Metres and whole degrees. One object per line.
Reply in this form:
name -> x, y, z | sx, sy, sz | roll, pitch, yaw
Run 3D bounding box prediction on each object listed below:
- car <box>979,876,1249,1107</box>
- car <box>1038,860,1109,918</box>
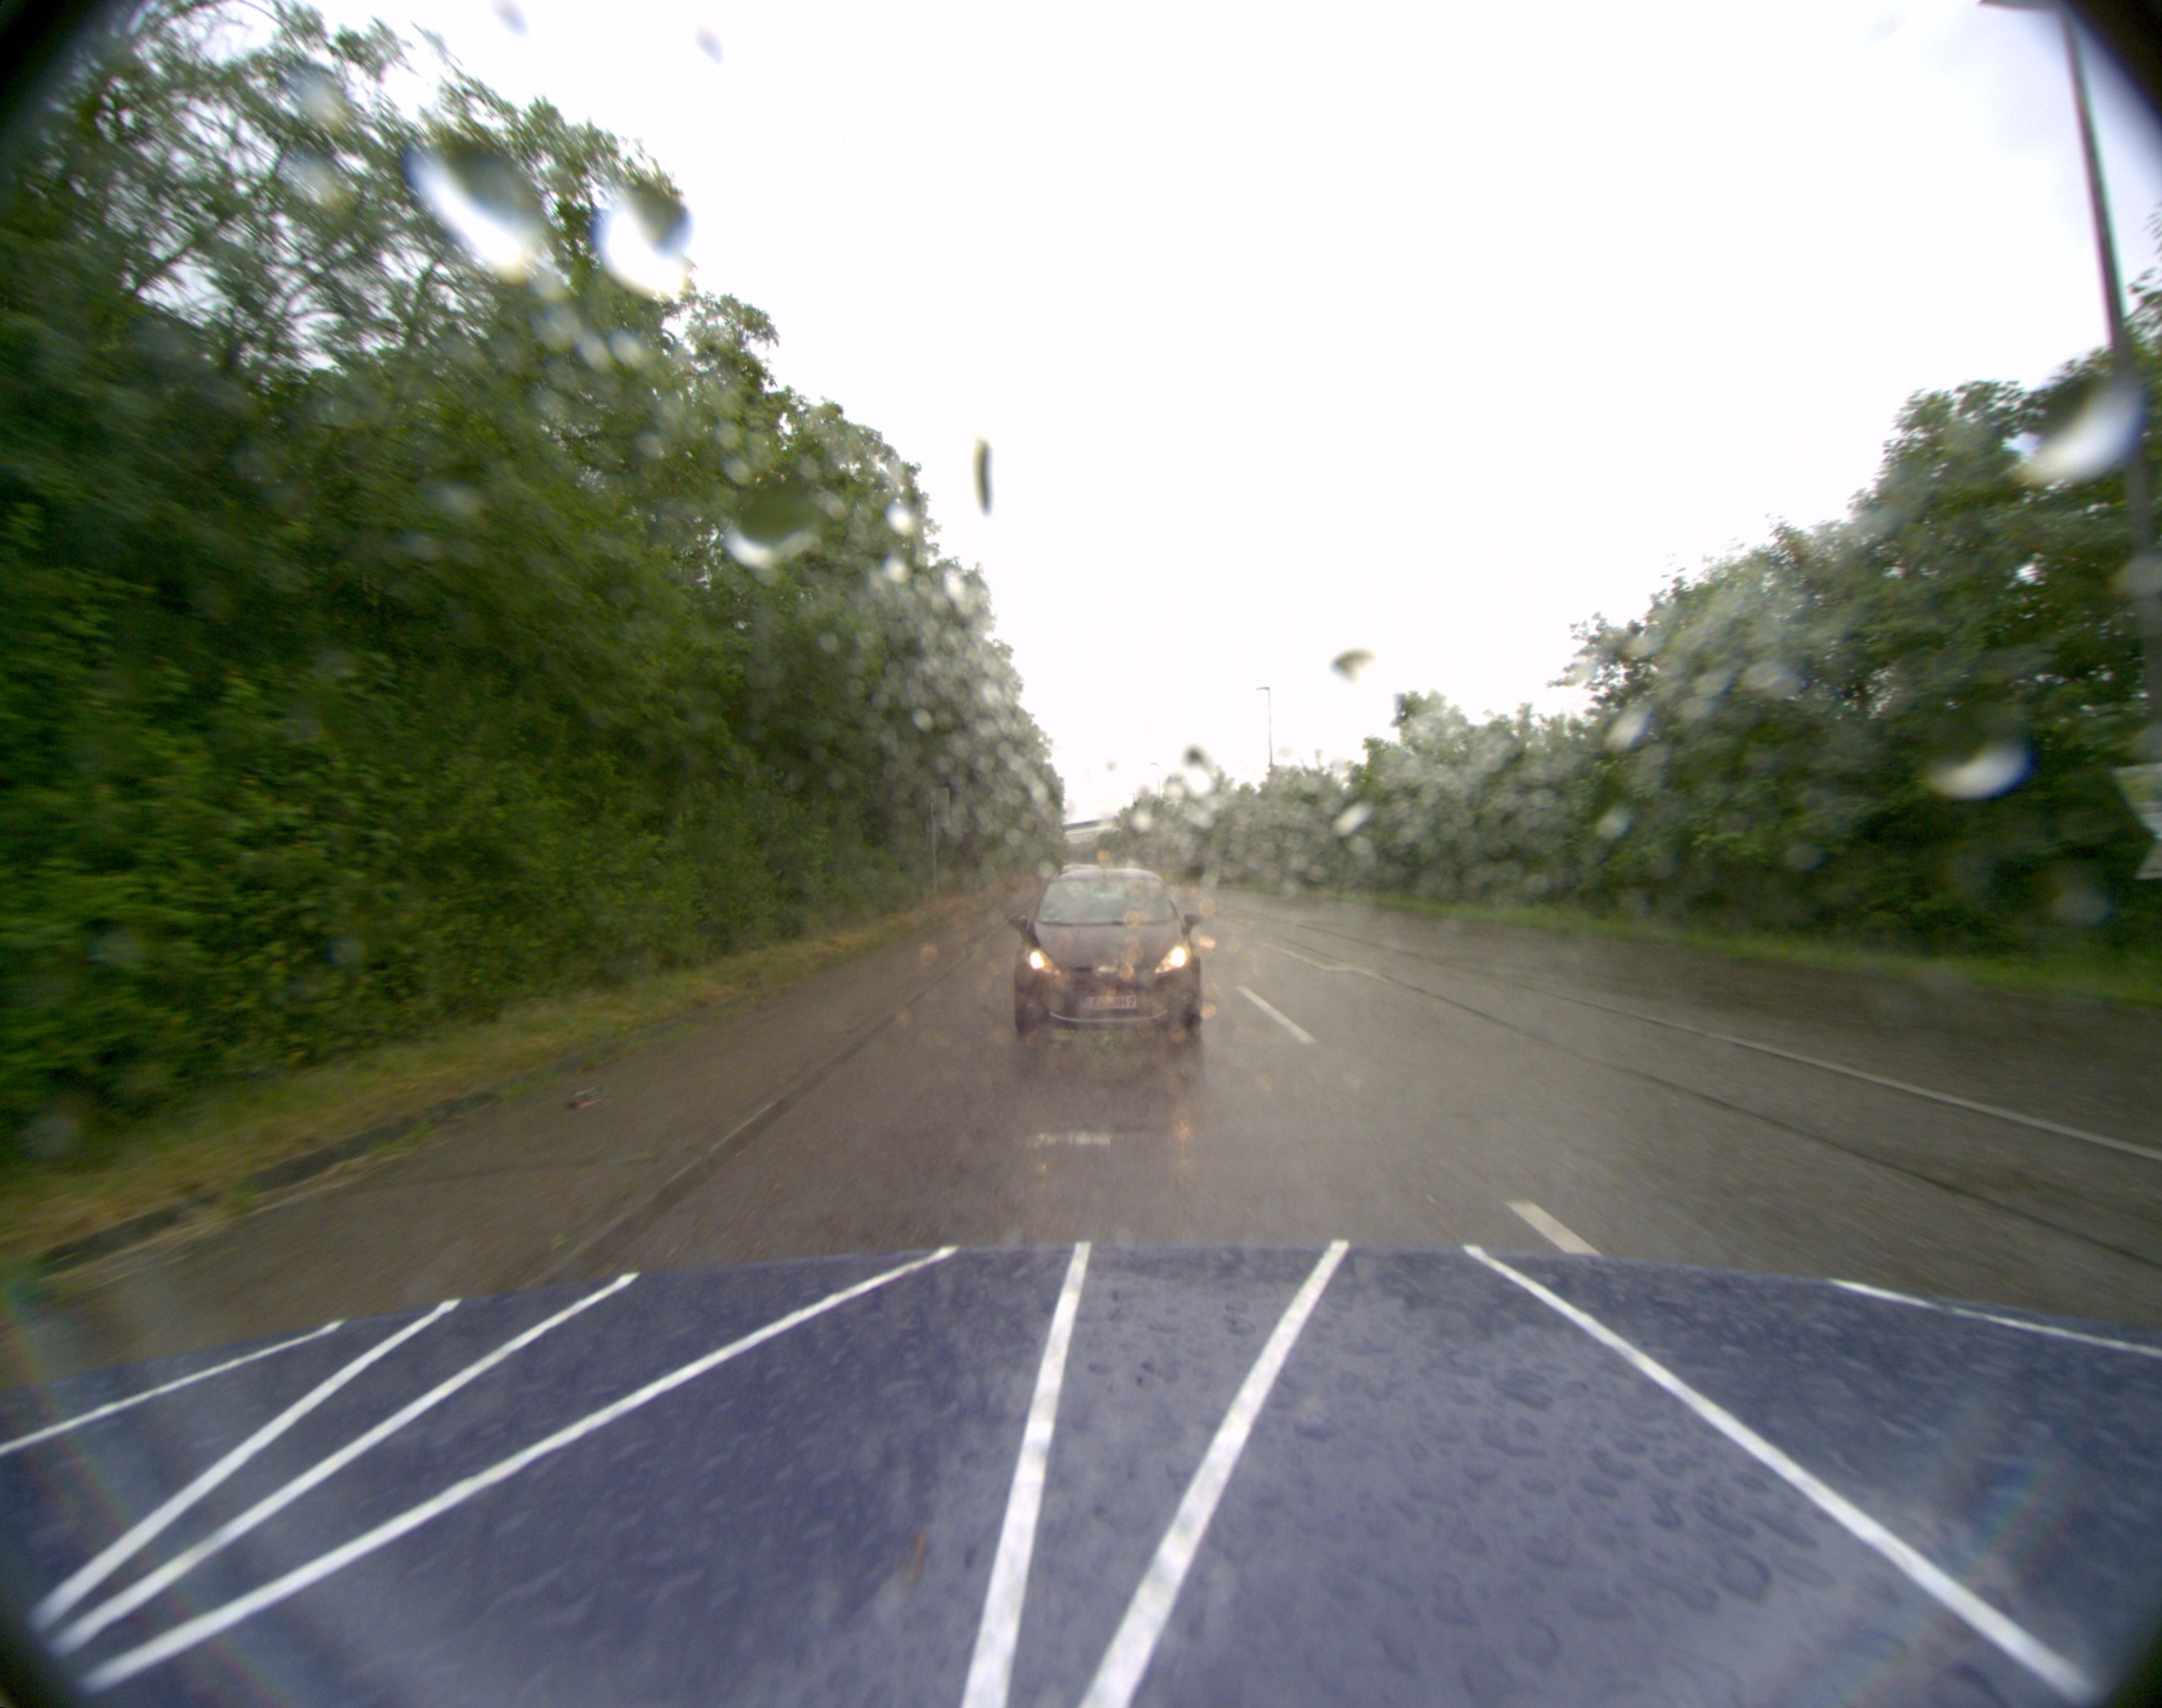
car -> 0.244, 1.023, 7.460 | 1.839, 1.404, 4.342 | -2, 0, 0
car -> -0.201, 1.034, 24.073 | 1.998, 1.576, 4.000 | -2, 0, 0
